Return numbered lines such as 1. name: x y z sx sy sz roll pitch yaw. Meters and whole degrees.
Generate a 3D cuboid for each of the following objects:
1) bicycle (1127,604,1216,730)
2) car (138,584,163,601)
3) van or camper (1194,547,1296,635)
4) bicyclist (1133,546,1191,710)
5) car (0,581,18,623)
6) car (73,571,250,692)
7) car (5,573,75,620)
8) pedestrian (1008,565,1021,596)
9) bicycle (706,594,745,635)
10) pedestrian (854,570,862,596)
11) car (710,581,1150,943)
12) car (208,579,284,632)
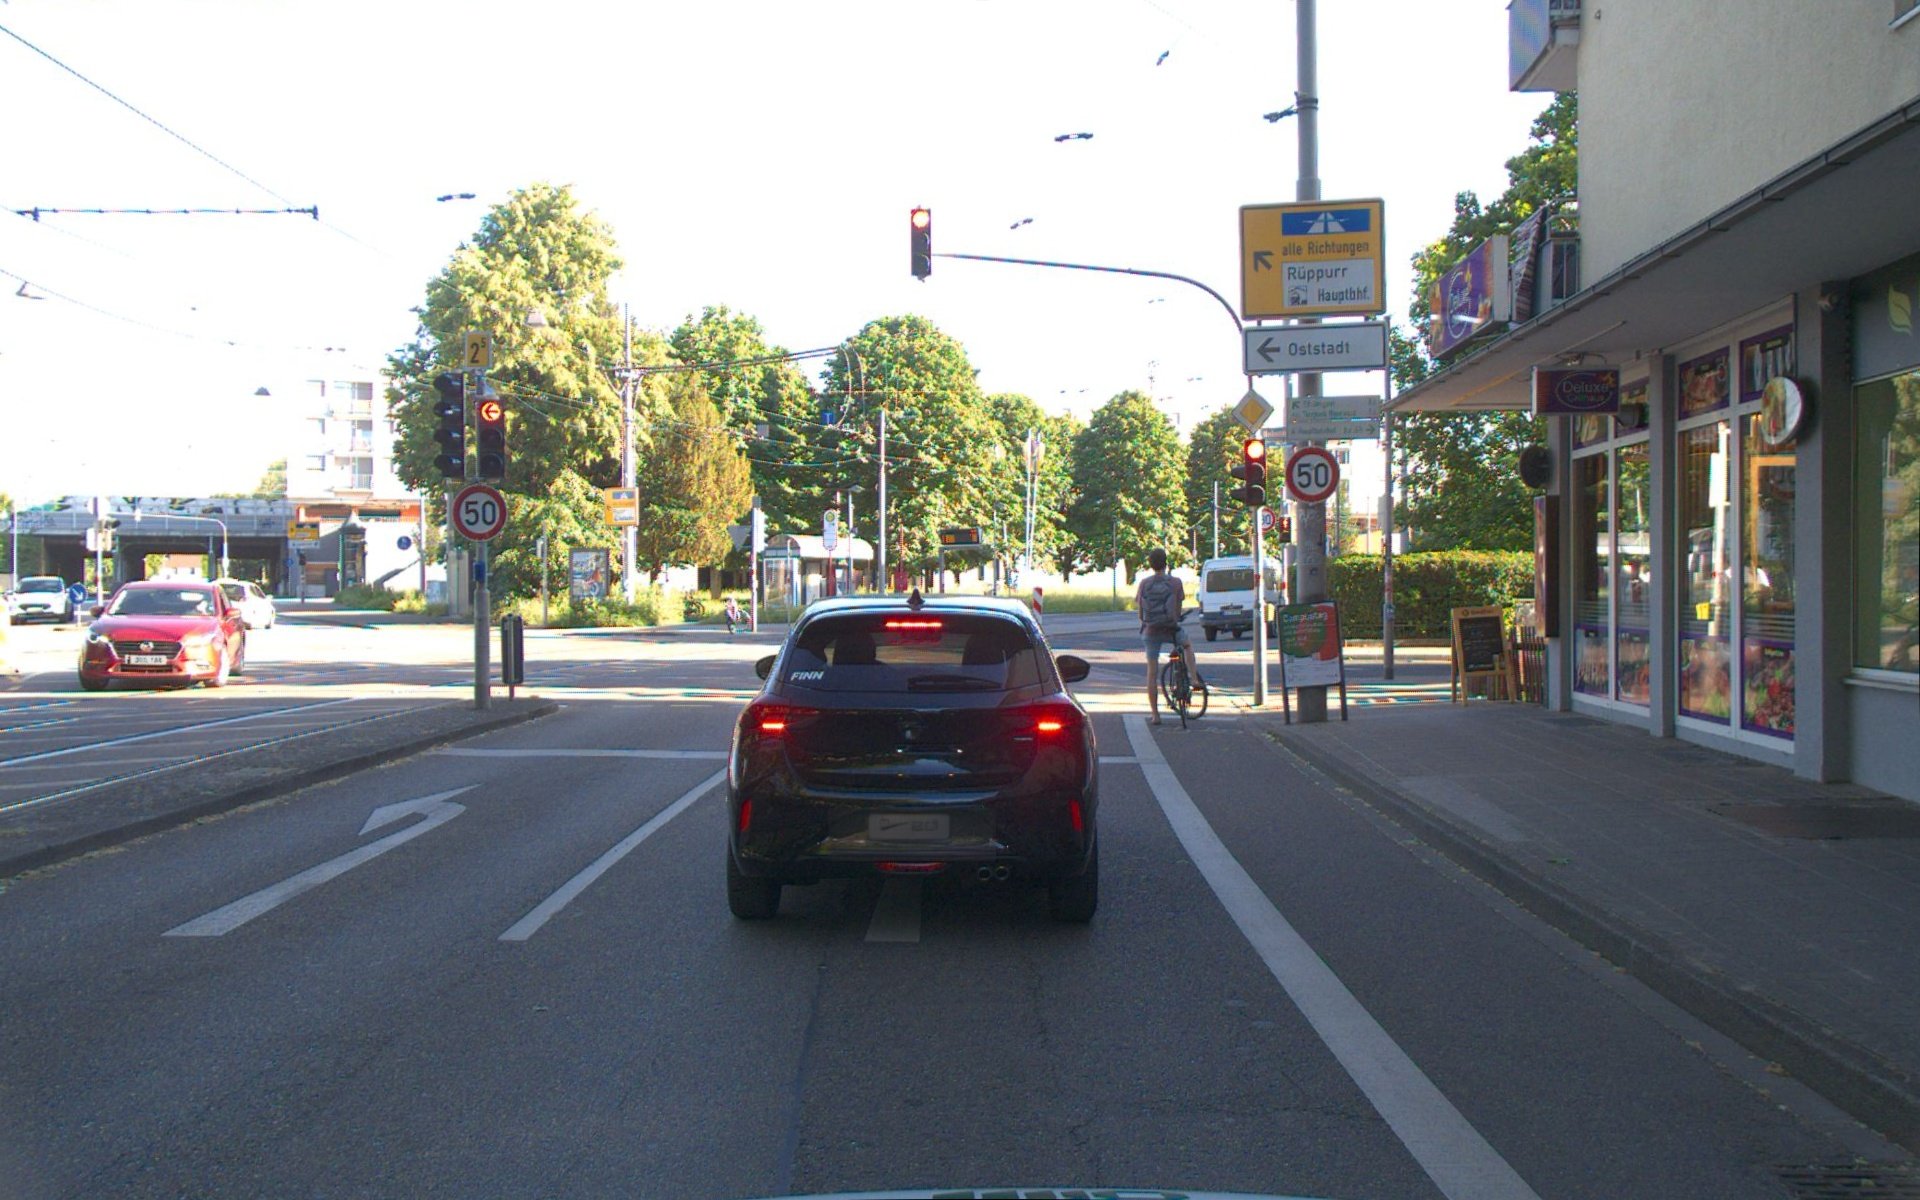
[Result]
1. bicycle: 2.315 0.688 17.940 0.737 1.256 2.017 0 1 14
2. car: -64.294 -0.609 131.304 1.562 1.282 3.394 -1 1 -30
3. van or camper: 8.053 -0.227 46.389 1.987 2.351 4.540 1 0 20
4. bicyclist: 2.178 0.292 17.805 0.522 1.722 0.568 0 0 16
5. car: -38.371 0.057 65.038 1.860 1.613 3.809 1 0 -24
6. car: -11.532 0.388 24.167 1.988 1.592 4.462 0 1 -22
7. car: -33.686 -0.123 60.633 1.860 1.613 3.809 1 0 -24
8. pedestrian: 3.382 -1.176 102.415 0.598 1.904 0.513 1 -1 -34
9. bicycle: -6.494 0.386 45.930 0.780 1.083 2.184 0 1 -1
10. pedestrian: -7.635 -1.272 123.955 0.592 1.904 0.519 1 -1 -7
11. car: -0.150 0.646 8.801 1.803 1.487 3.983 0 1 -1
12. car: -22.824 0.168 52.809 1.967 1.579 4.160 1 0 -27
